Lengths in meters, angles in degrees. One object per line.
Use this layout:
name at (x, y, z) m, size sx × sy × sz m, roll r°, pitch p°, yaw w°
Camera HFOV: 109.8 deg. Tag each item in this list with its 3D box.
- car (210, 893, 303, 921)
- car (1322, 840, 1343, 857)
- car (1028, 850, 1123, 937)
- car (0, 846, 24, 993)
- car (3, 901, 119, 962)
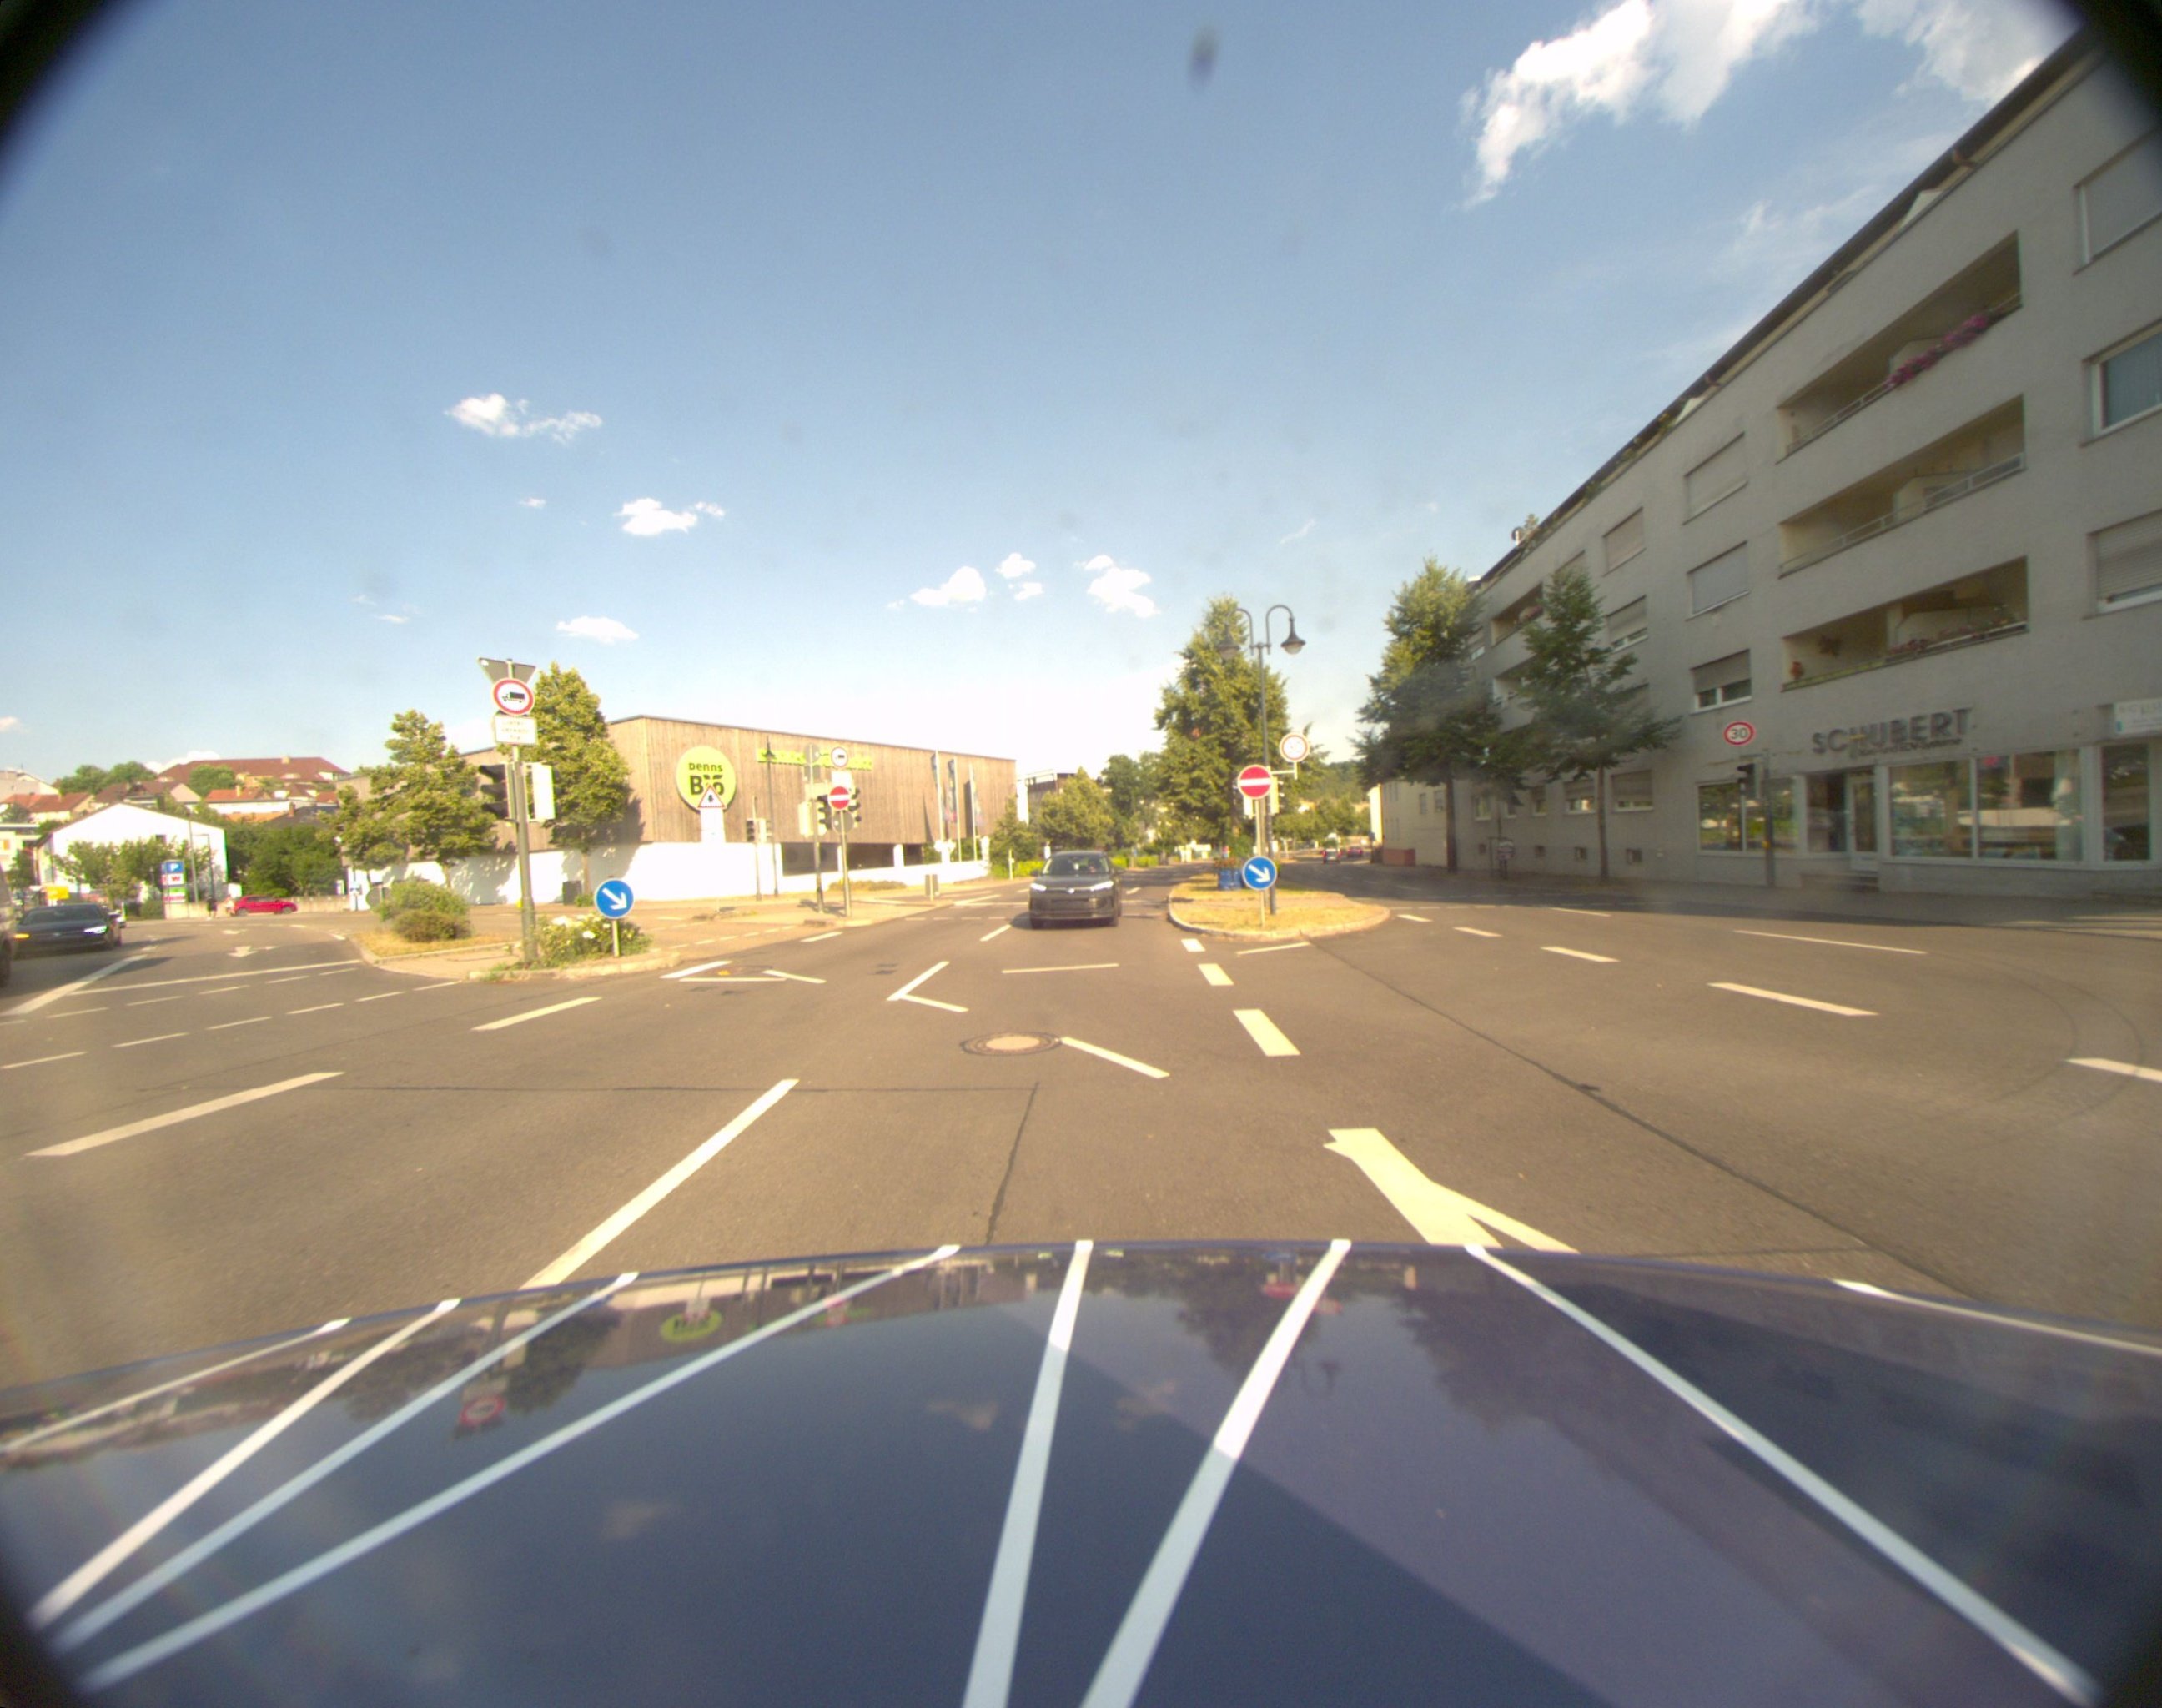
car at (-61.623, 3.919, 56.884) m, size 1.890 × 1.713 × 4.323 m, roll -2°, pitch 1°, yaw 28°
car at (27.064, -0.569, 81.619) m, size 1.854 × 1.726 × 4.929 m, roll -1°, pitch 1°, yaw 22°
car at (0.009, 0.775, 17.053) m, size 1.725 × 1.605 × 4.262 m, roll -1°, pitch 1°, yaw 5°
car at (-18.282, 1.103, 11.267) m, size 5.844 × 2.507 × 2.199 m, roll -2°, pitch 1°, yaw 43°
car at (-29.729, 2.174, 22.174) m, size 3.989 × 1.444 × 1.861 m, roll -2°, pitch 1°, yaw 36°
